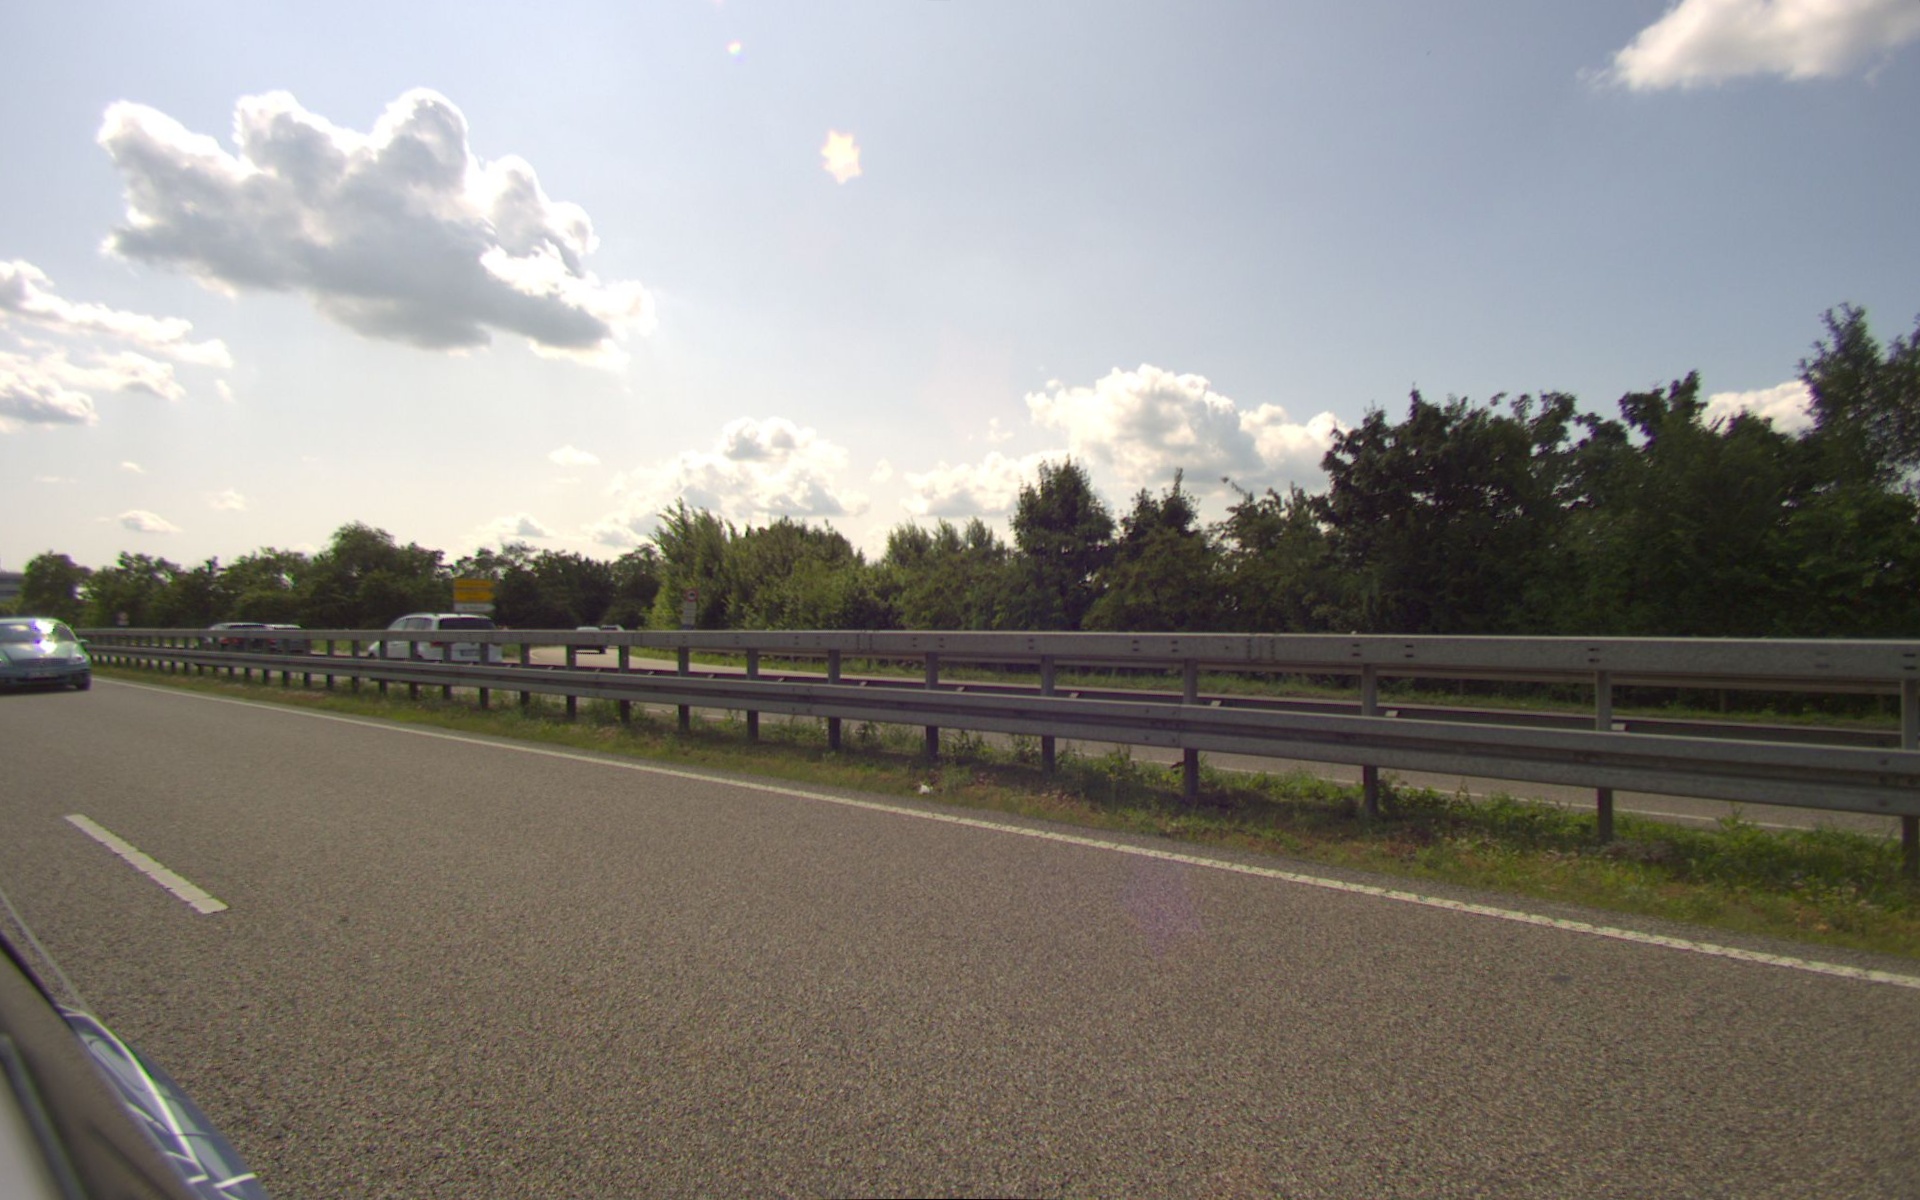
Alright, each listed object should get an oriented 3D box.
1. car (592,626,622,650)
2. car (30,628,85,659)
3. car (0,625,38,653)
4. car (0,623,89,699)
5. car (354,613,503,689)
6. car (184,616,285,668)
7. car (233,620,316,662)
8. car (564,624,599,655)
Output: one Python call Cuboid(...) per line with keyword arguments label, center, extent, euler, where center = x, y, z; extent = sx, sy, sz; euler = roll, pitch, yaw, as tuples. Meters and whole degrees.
Cuboid(label="car", center=(-25.235, 2.712, 72.418), extent=(1.700, 1.538, 4.011), euler=(-1, 0, -15))
Cuboid(label="car", center=(-53.974, 2.577, 60.476), extent=(4.548, 1.658, 1.940), euler=(-1, 0, 42))
Cuboid(label="car", center=(-61.763, 2.508, 66.018), extent=(4.548, 1.658, 1.940), euler=(-1, 0, 42))
Cuboid(label="car", center=(-20.702, 1.283, 22.341), extent=(3.998, 1.543, 1.729), euler=(-1, -1, 42))
Cuboid(label="car", center=(-12.909, 1.163, 24.478), extent=(4.266, 1.658, 1.671), euler=(-1, 0, 40))
Cuboid(label="car", center=(-25.697, 1.427, 35.803), extent=(4.548, 1.658, 1.940), euler=(-1, 0, 42))
Cuboid(label="car", center=(-30.073, 1.757, 44.362), extent=(4.548, 1.658, 1.940), euler=(-1, 0, 42))
Cuboid(label="car", center=(-21.140, 2.186, 56.449), extent=(1.700, 1.538, 4.013), euler=(-1, 0, -22))
